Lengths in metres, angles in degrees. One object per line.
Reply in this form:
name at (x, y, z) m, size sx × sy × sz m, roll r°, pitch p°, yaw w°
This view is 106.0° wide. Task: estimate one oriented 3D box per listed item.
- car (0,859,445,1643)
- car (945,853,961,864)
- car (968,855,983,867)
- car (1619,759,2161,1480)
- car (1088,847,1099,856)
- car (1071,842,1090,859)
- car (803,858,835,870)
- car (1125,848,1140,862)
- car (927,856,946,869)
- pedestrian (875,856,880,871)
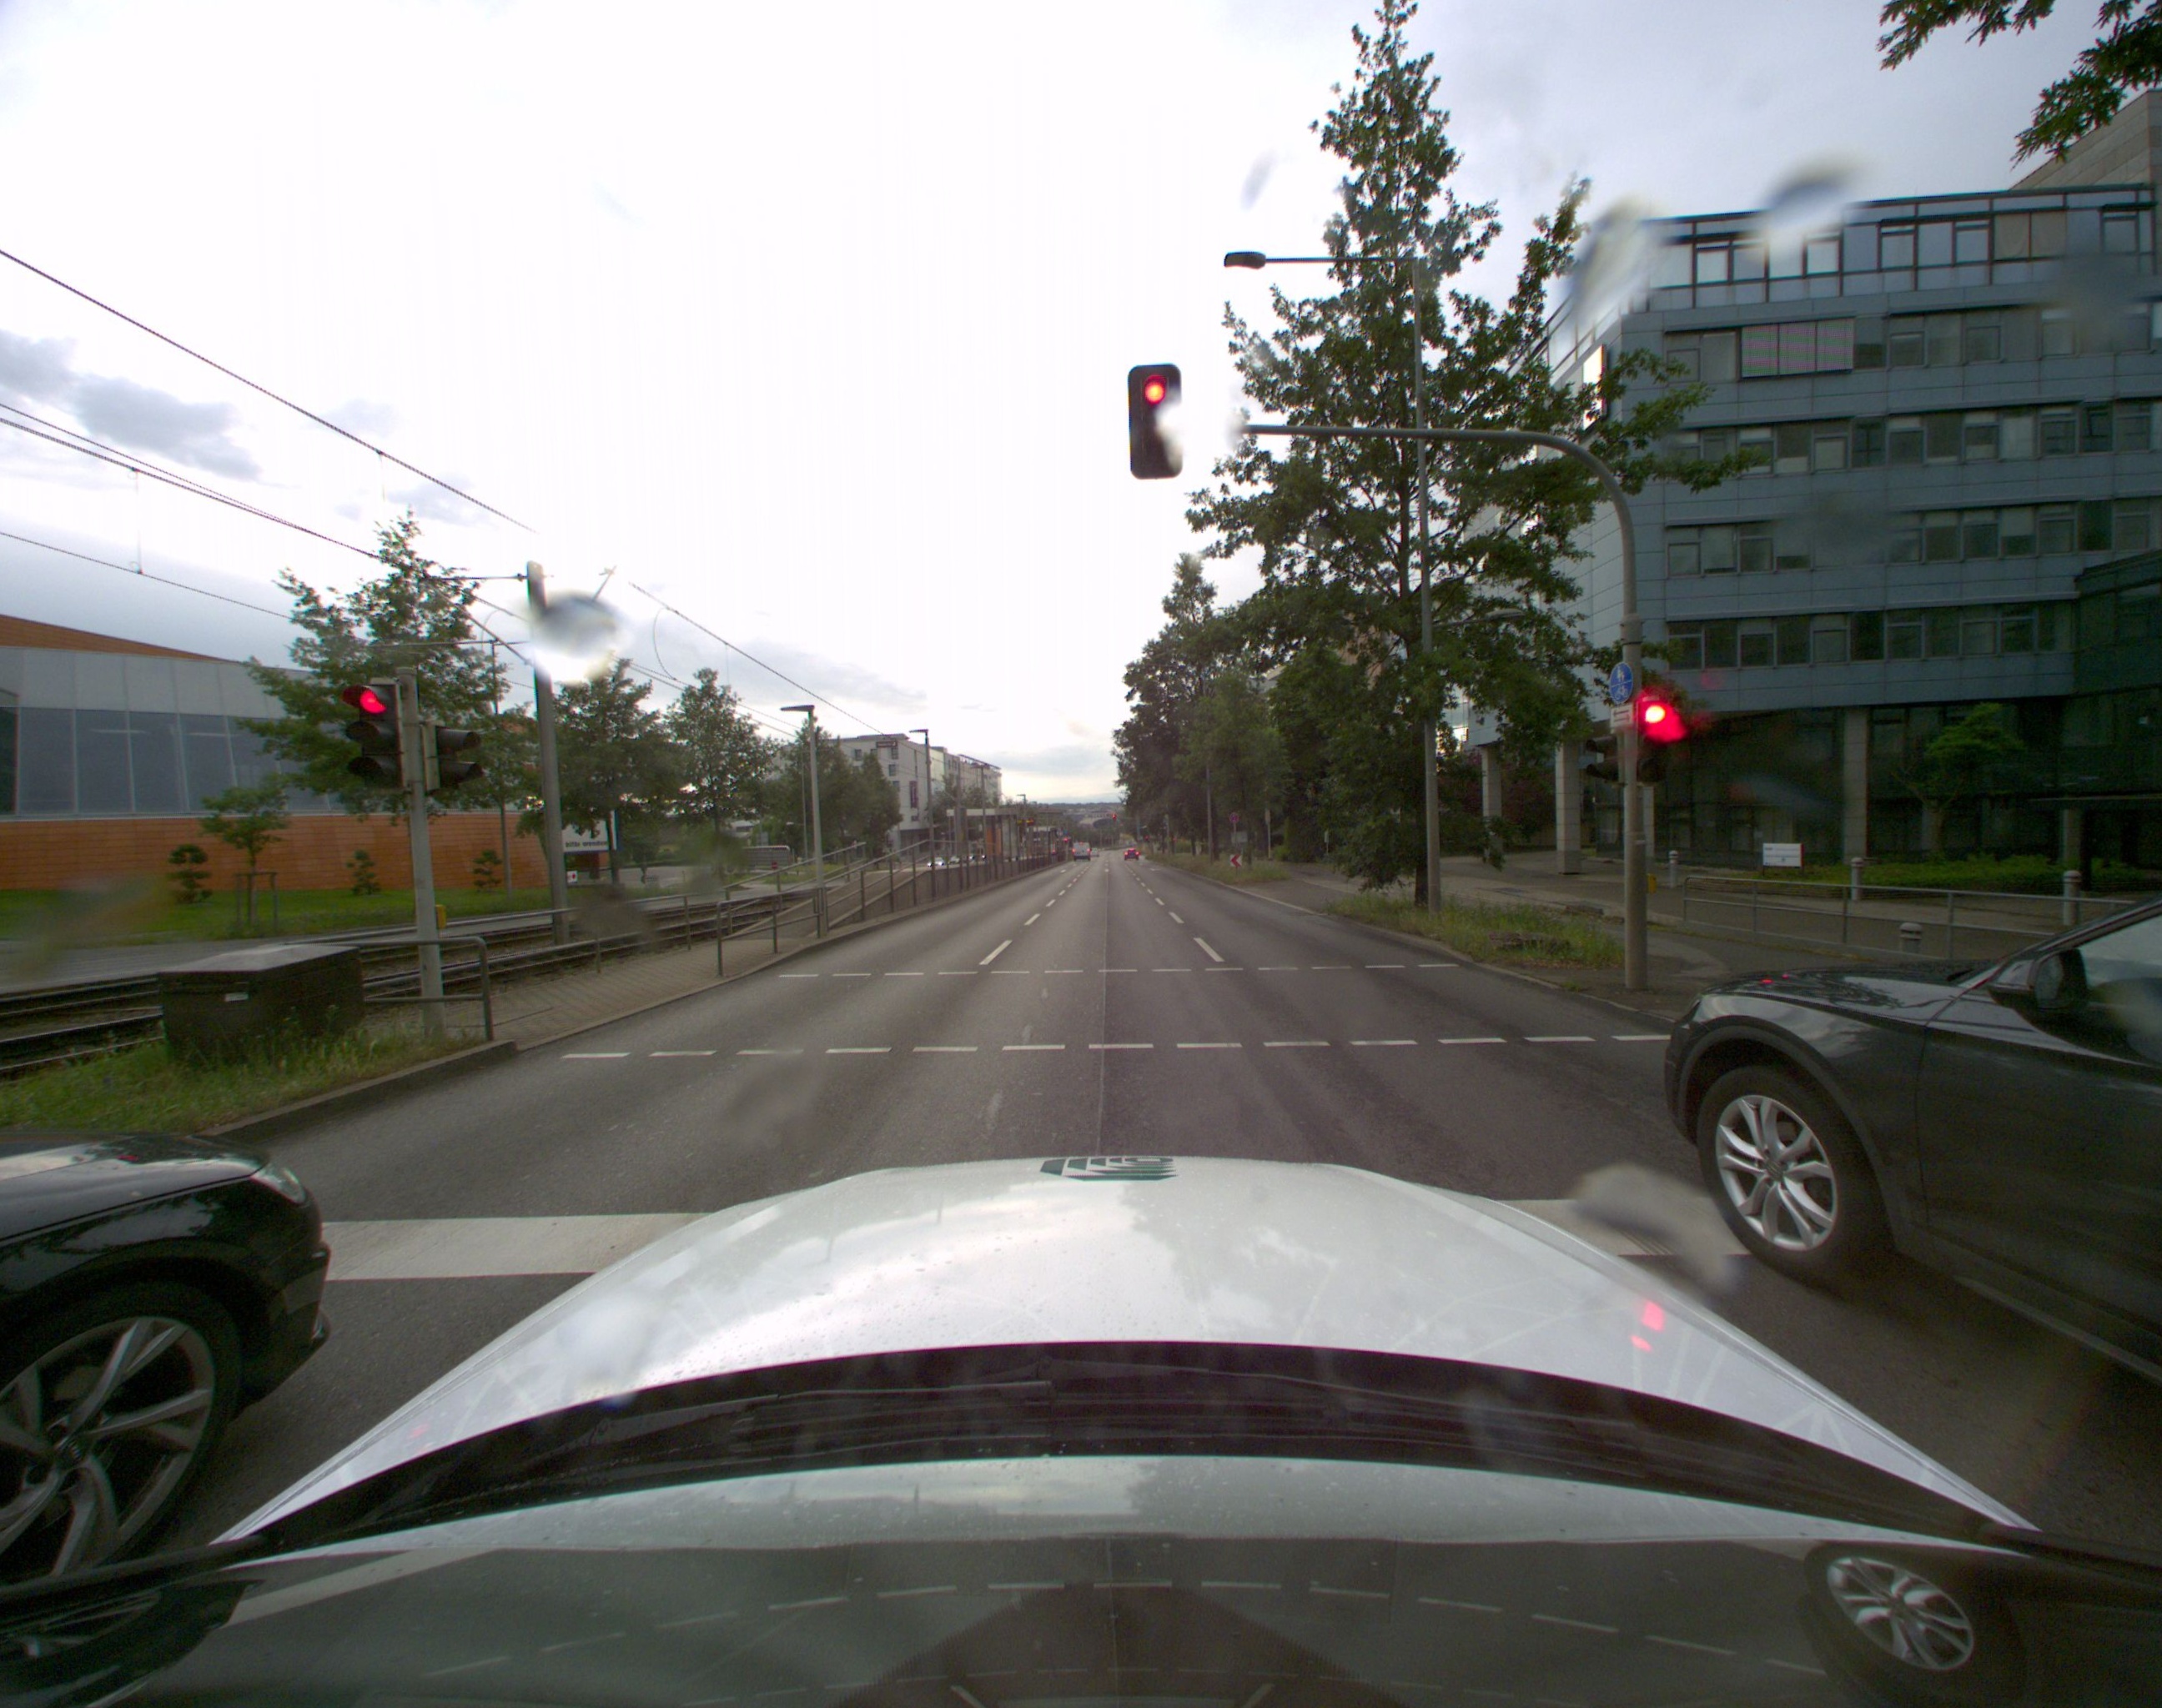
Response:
car at (-2.973, 0.778, 0.322) m, size 1.774 × 1.466 × 4.515 m, roll -1°, pitch 0°, yaw 2°
car at (-17.382, 0.596, 110.315) m, size 1.562 × 1.378 × 3.518 m, roll -2°, pitch 0°, yaw 0°
car at (-13.615, 0.952, 104.973) m, size 1.651 × 1.436 × 3.865 m, roll -4°, pitch 0°, yaw -11°
car at (3.298, 0.578, 1.446) m, size 1.811 × 1.612 × 4.472 m, roll -1°, pitch 0°, yaw 2°
car at (2.085, -0.406, 138.522) m, size 1.776 × 1.390 × 4.002 m, roll -2°, pitch 0°, yaw 2°
car at (-0.030, -0.446, 102.638) m, size 2.085 × 2.053 × 4.608 m, roll -1°, pitch 0°, yaw 2°
car at (-31.129, 1.179, 96.791) m, size 3.341 × 1.387 × 1.440 m, roll -1°, pitch 0°, yaw 18°
car at (6.484, 0.071, 102.836) m, size 1.767 × 1.691 × 3.847 m, roll -1°, pitch 0°, yaw 2°
car at (-18.024, 1.041, 101.757) m, size 1.646 × 1.436 × 3.878 m, roll -4°, pitch 0°, yaw -1°
pedestrian at (-27.553, 1.295, 110.049) m, size 0.473 × 1.920 × 0.490 m, roll -1°, pitch 0°, yaw 1°
